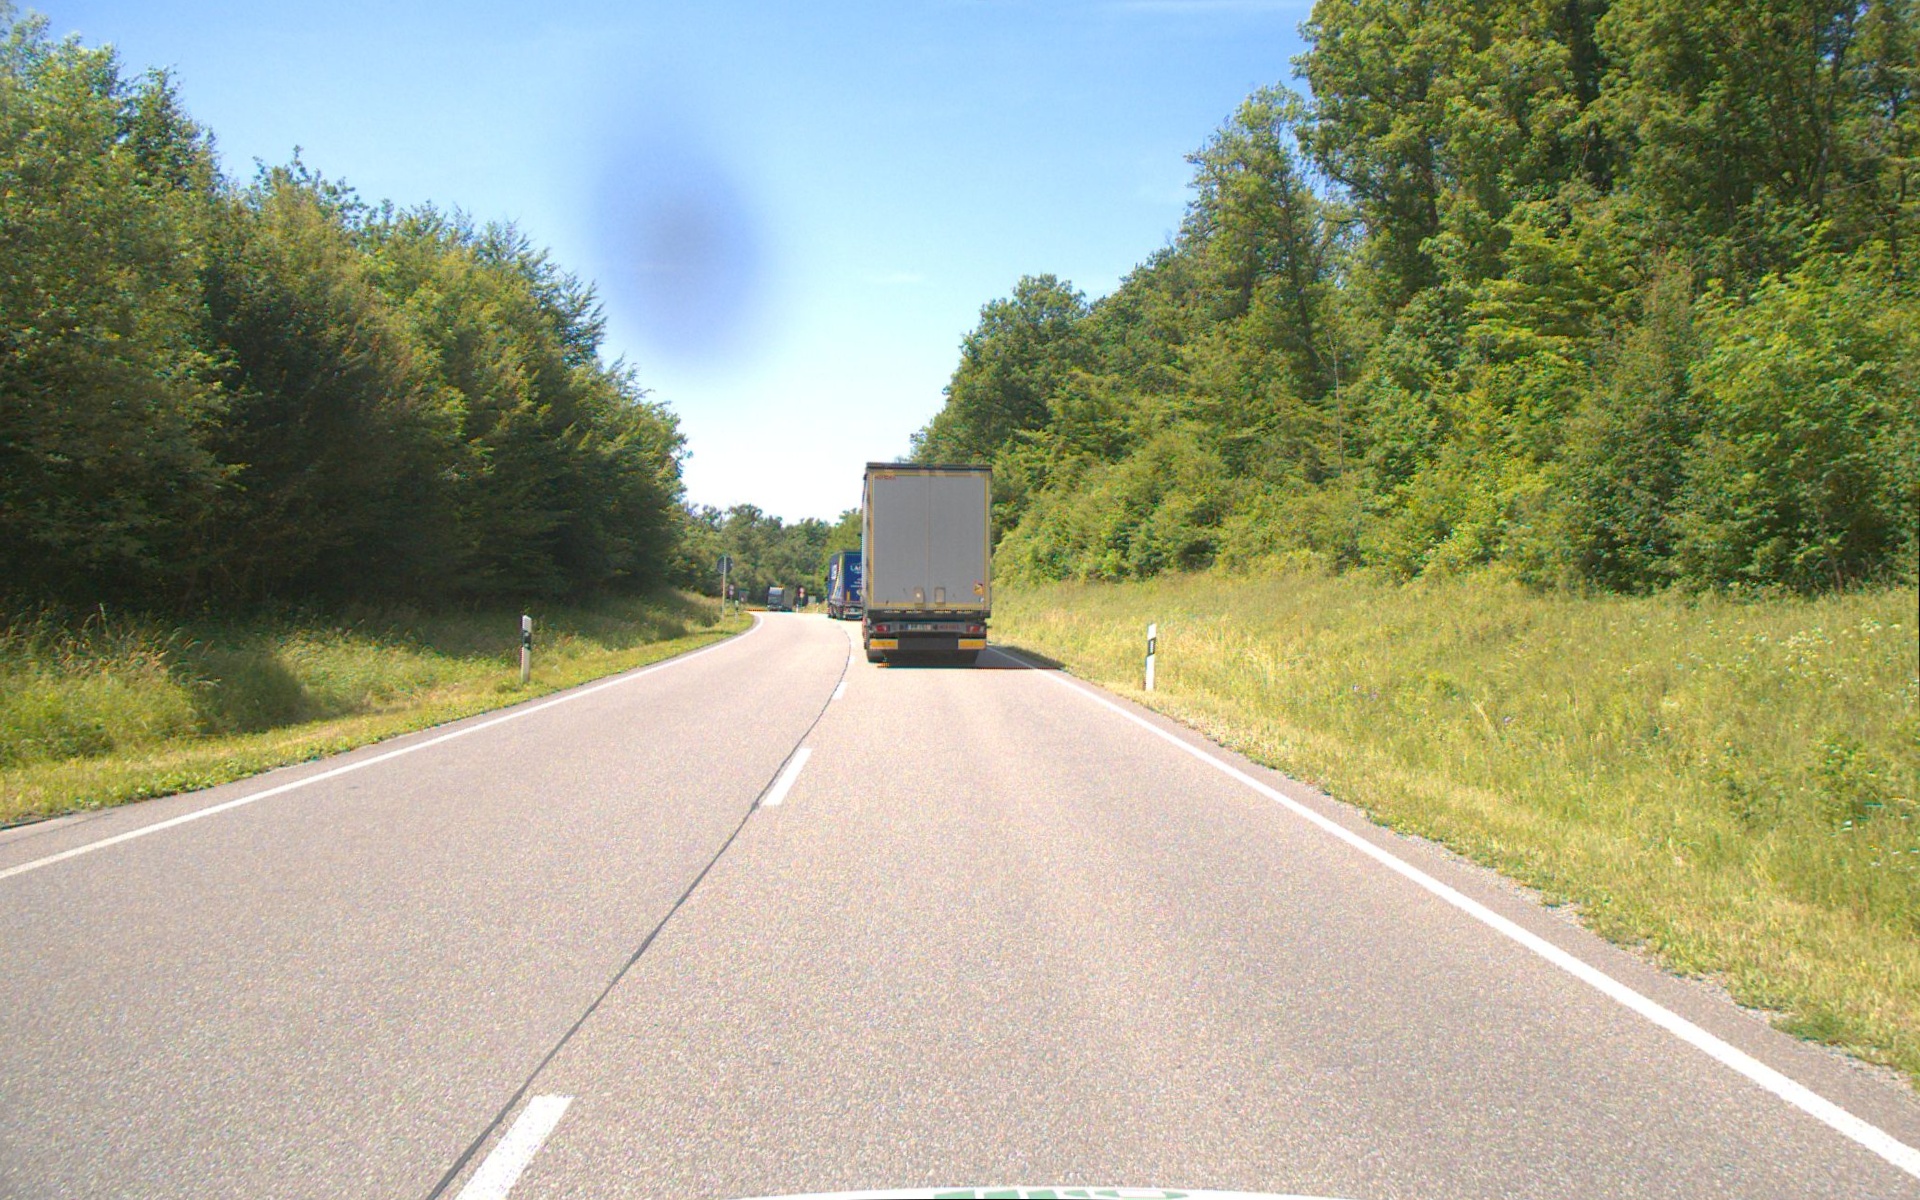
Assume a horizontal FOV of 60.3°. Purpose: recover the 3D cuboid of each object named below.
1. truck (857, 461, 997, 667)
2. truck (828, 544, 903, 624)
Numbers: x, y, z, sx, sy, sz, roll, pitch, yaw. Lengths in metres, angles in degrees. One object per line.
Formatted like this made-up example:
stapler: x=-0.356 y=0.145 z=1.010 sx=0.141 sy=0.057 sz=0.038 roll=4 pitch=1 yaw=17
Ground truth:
truck: x=-0.920 y=-0.731 z=38.736 sx=2.706 sy=4.016 sz=12.191 roll=1 pitch=0 yaw=-3
truck: x=-5.978 y=-0.968 z=101.922 sx=3.721 sy=4.449 sz=14.899 roll=2 pitch=0 yaw=-6
